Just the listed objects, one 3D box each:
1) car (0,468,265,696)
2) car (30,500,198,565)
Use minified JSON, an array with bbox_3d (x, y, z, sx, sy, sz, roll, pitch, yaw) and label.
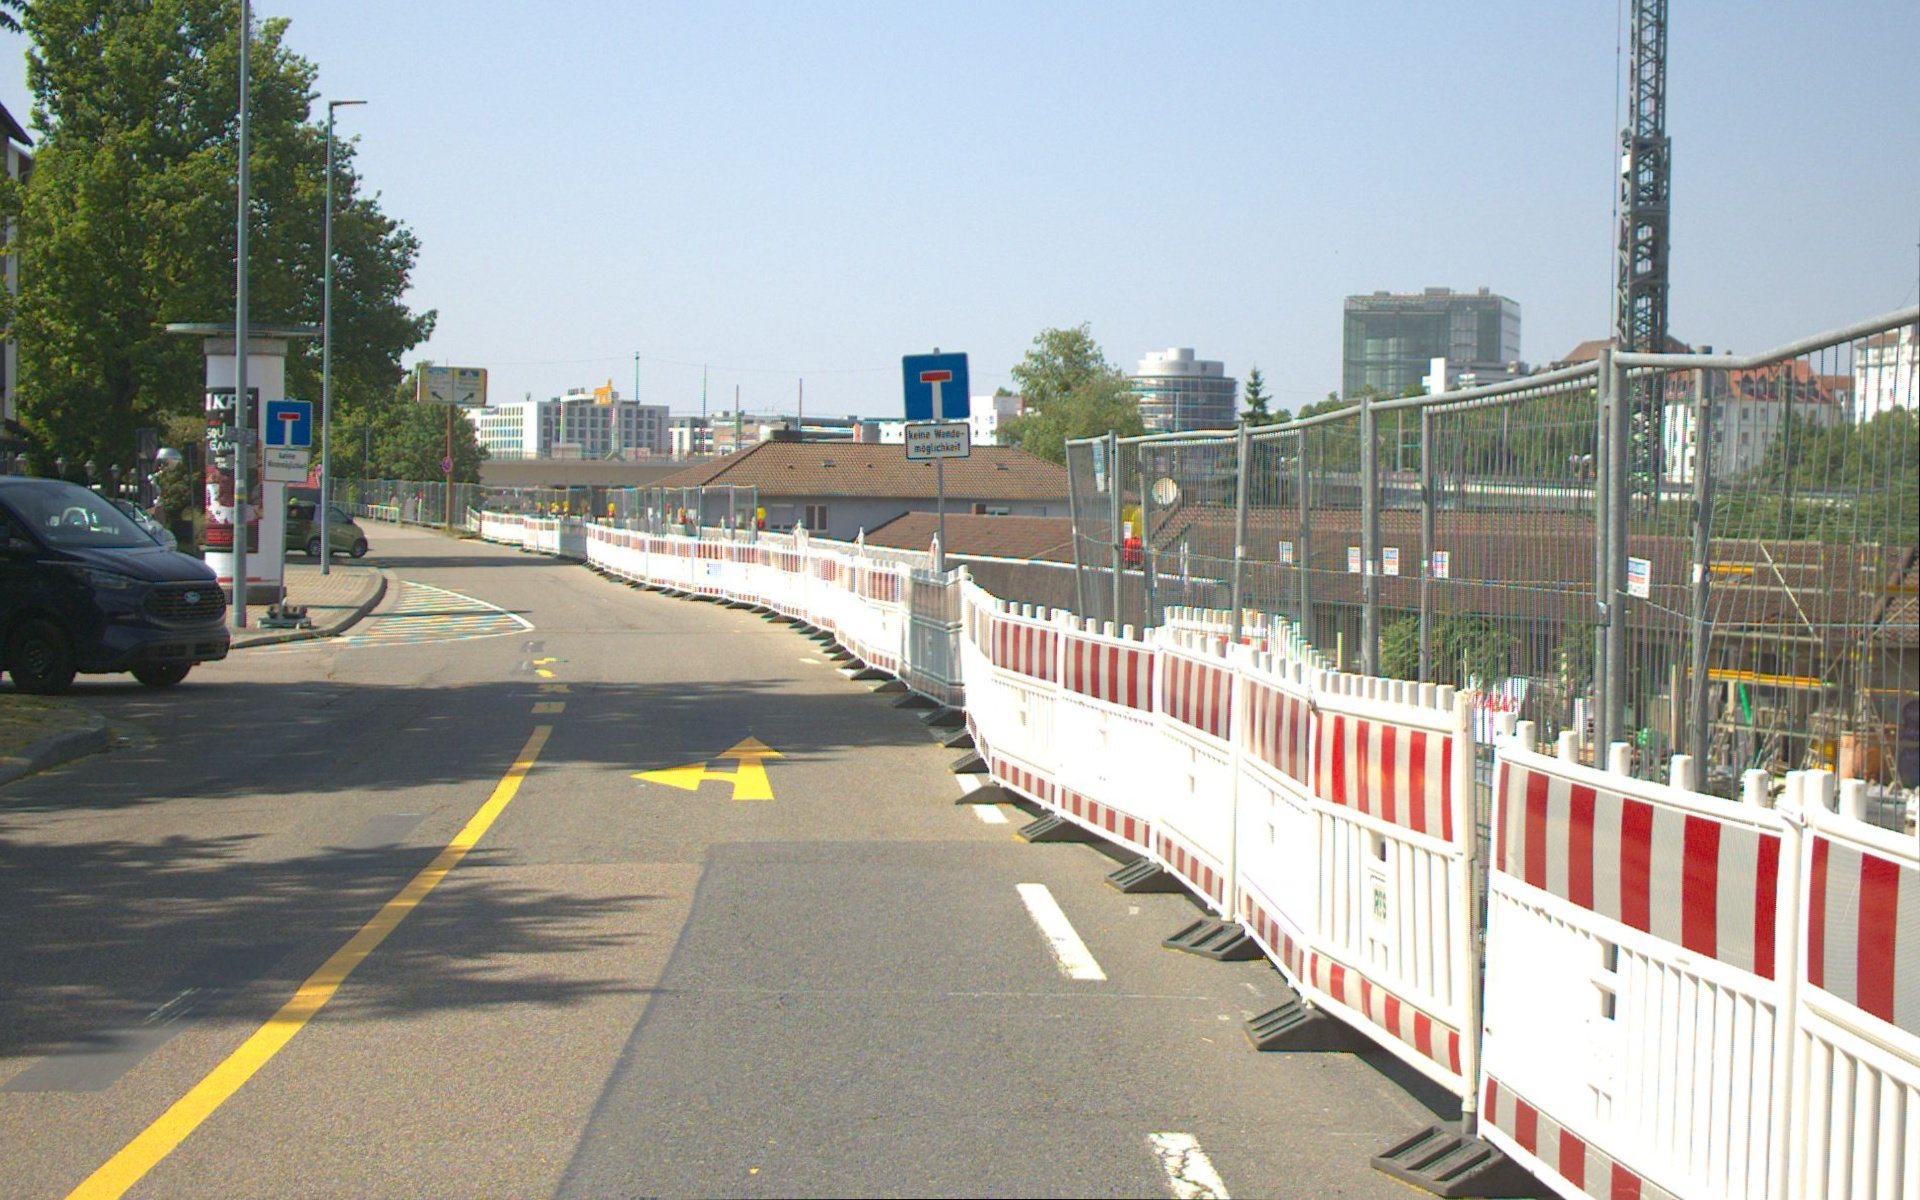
[{"bbox_3d":[-9.161,-0.233,31.096,5.369,1.928,1.998,1,2,20],"label":"car"},{"bbox_3d":[-19.603,-1.560,79.648,3.681,1.416,1.570,2,1,29],"label":"car"}]
